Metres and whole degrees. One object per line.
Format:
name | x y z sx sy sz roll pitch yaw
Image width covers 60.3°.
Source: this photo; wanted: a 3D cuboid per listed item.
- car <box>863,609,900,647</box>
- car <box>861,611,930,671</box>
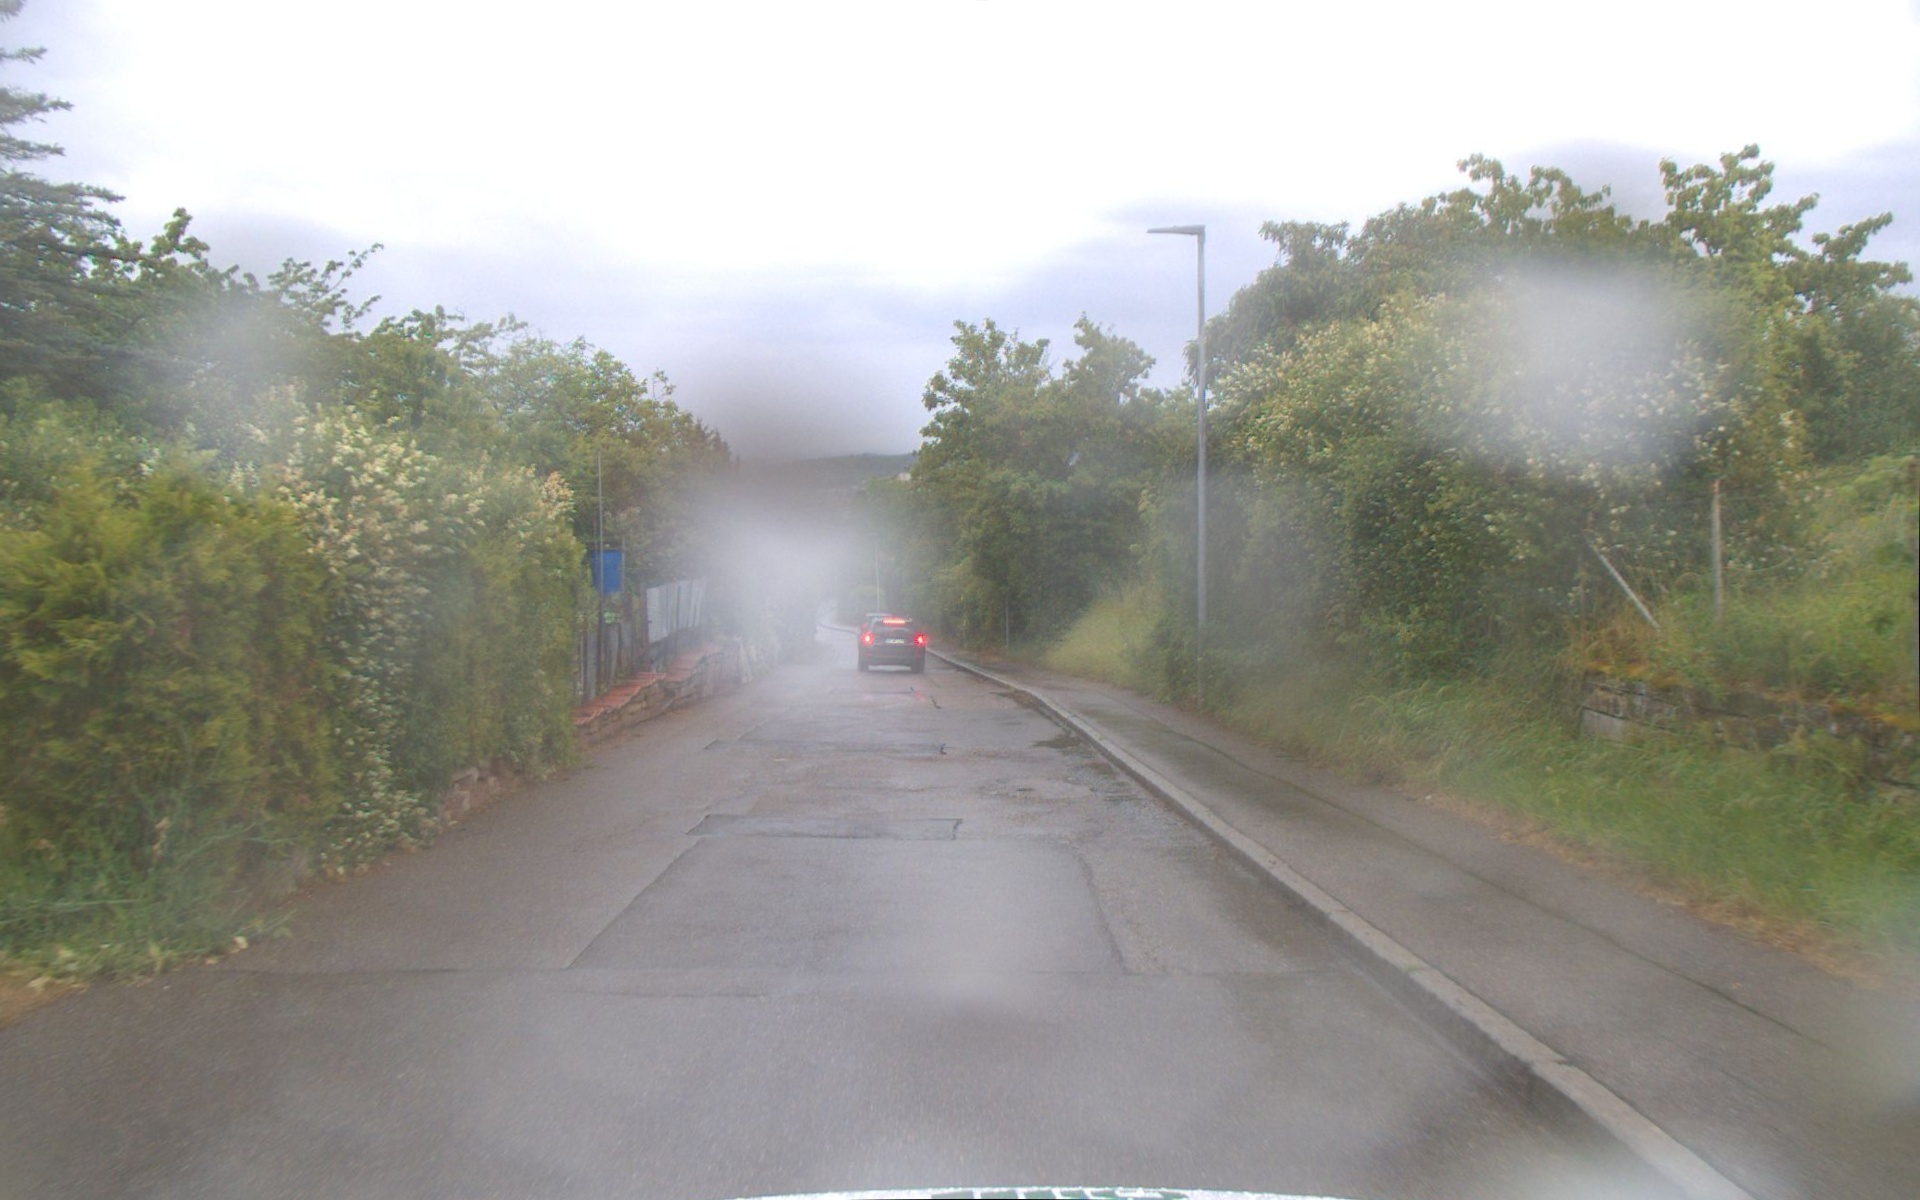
car | -3.651 1.286 77.331 1.644 1.592 3.793 0 1 -2
car | -1.796 1.098 45.374 1.798 1.489 3.997 1 0 -3
